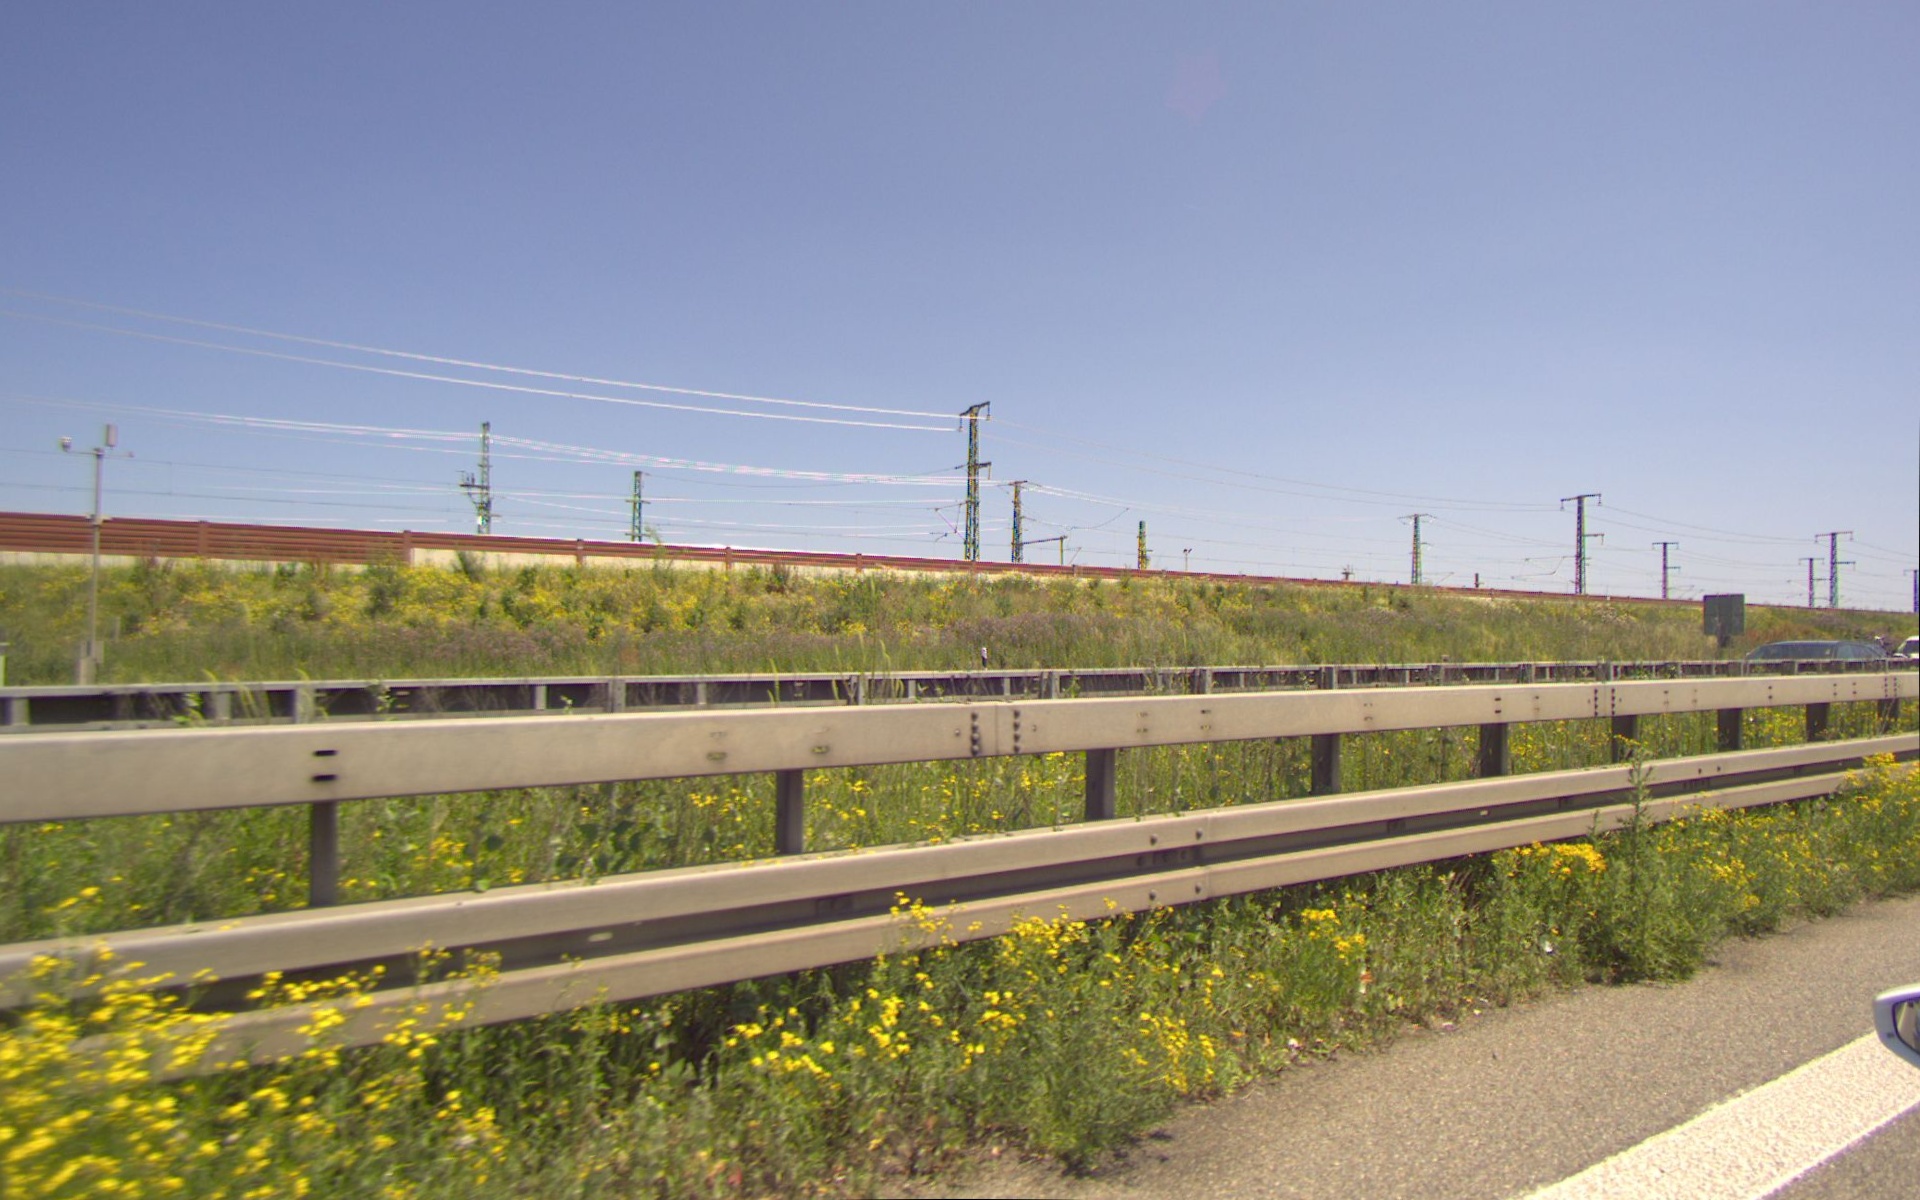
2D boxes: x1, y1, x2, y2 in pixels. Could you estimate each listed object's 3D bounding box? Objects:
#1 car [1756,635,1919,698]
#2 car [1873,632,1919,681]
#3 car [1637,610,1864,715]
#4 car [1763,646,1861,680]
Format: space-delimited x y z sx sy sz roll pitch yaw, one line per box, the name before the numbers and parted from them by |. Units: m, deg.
car | 24.640 1.823 28.151 5.335 1.632 1.911 1 -3 -31
car | 37.902 2.183 39.187 5.135 1.824 1.911 1 -3 -30
car | 14.553 1.088 18.469 3.953 1.743 1.984 1 -1 -30
car | 38.015 2.792 44.787 4.530 1.436 1.911 1 -3 -30
